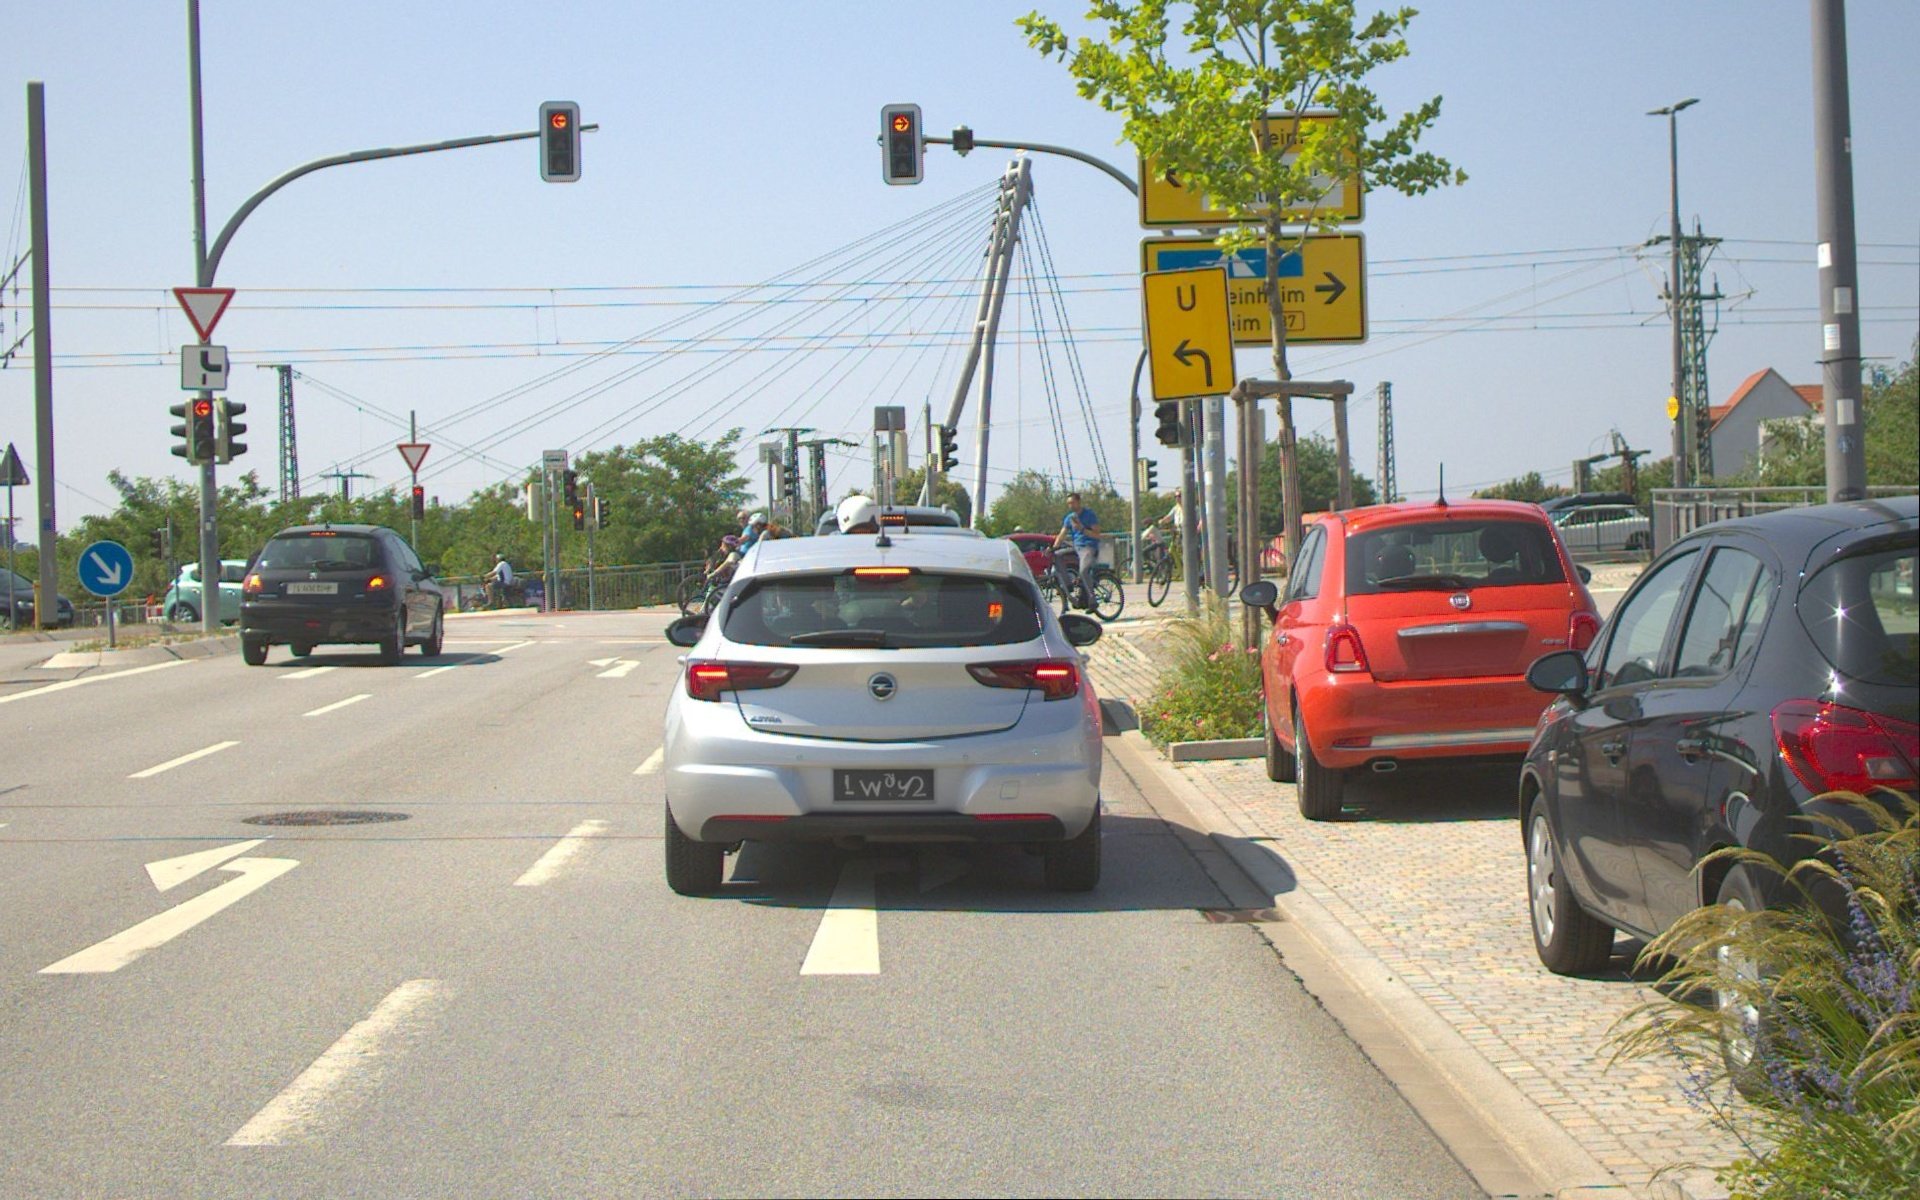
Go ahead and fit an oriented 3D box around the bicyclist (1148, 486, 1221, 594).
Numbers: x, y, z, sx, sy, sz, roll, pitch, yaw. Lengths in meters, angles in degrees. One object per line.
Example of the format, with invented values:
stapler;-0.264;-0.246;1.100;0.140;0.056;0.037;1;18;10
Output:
bicyclist;3.304;-0.881;50.576;0.821;1.563;0.947;1;0;21

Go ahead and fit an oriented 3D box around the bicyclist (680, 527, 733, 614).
bicyclist;-3.482;-0.405;47.251;0.657;1.171;0.731;1;0;1

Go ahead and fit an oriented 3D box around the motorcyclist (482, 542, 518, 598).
motorcyclist;-12.238;-0.804;91.444;0.809;1.471;0.885;1;0;0

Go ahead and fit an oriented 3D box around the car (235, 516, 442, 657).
car;-6.497;-0.152;36.209;1.587;1.390;3.340;-1;1;-1

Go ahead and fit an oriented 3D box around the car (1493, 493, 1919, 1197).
car;2.627;0.506;9.694;1.581;1.550;3.547;-3;2;-1

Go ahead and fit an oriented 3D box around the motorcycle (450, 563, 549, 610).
motorcycle;-12.251;-0.354;91.454;2.536;1.229;0.648;1;0;-1

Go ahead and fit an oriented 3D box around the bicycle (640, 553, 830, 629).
bicycle;-3.027;-0.120;46.373;2.504;1.003;0.605;0;1;1

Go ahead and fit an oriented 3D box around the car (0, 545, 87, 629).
car;-20.187;-0.264;71.029;3.748;1.577;1.814;-1;4;5

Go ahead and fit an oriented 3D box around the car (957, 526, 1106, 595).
car;1.754;-0.967;84.613;3.379;1.650;1.648;0;0;-10

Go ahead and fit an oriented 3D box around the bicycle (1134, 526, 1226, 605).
bicycle;3.236;-0.498;50.379;0.676;1.123;2.363;1;1;21

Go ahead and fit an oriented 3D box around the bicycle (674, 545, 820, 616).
bicycle;-3.467;-0.319;55.982;2.319;1.129;0.637;0;1;1

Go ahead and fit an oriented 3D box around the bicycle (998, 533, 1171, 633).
bicycle;1.744;-0.243;47.696;2.526;1.130;0.728;-8;4;-42

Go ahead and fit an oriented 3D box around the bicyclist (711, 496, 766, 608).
bicyclist;-2.987;-0.645;46.372;0.657;1.497;0.844;1;0;1

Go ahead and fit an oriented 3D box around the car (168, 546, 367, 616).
car;-14.621;-0.399;72.645;3.792;1.357;1.532;-1;2;11

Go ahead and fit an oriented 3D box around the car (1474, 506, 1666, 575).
car;15.093;-1.475;85.100;4.244;1.668;2.001;0;1;-17

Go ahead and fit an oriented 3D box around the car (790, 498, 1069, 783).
car;-0.205;0.222;22.301;1.634;1.668;3.745;1;1;-1

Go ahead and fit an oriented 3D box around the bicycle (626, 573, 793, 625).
bicycle;-3.443;-0.013;47.250;2.246;0.690;0.516;0;1;1

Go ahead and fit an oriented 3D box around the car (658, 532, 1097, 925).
car;-0.338;0.454;15.422;1.690;1.514;4.271;0;1;-1

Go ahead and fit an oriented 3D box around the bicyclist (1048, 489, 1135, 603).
bicyclist;1.824;-0.745;47.762;0.822;1.554;0.863;0;1;-42

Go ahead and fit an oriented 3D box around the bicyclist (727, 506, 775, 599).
bicyclist;-3.398;-0.776;55.992;0.718;1.499;0.824;0;0;0

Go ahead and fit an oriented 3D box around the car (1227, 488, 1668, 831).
car;2.445;0.260;18.127;1.669;1.534;3.917;-3;1;-1
